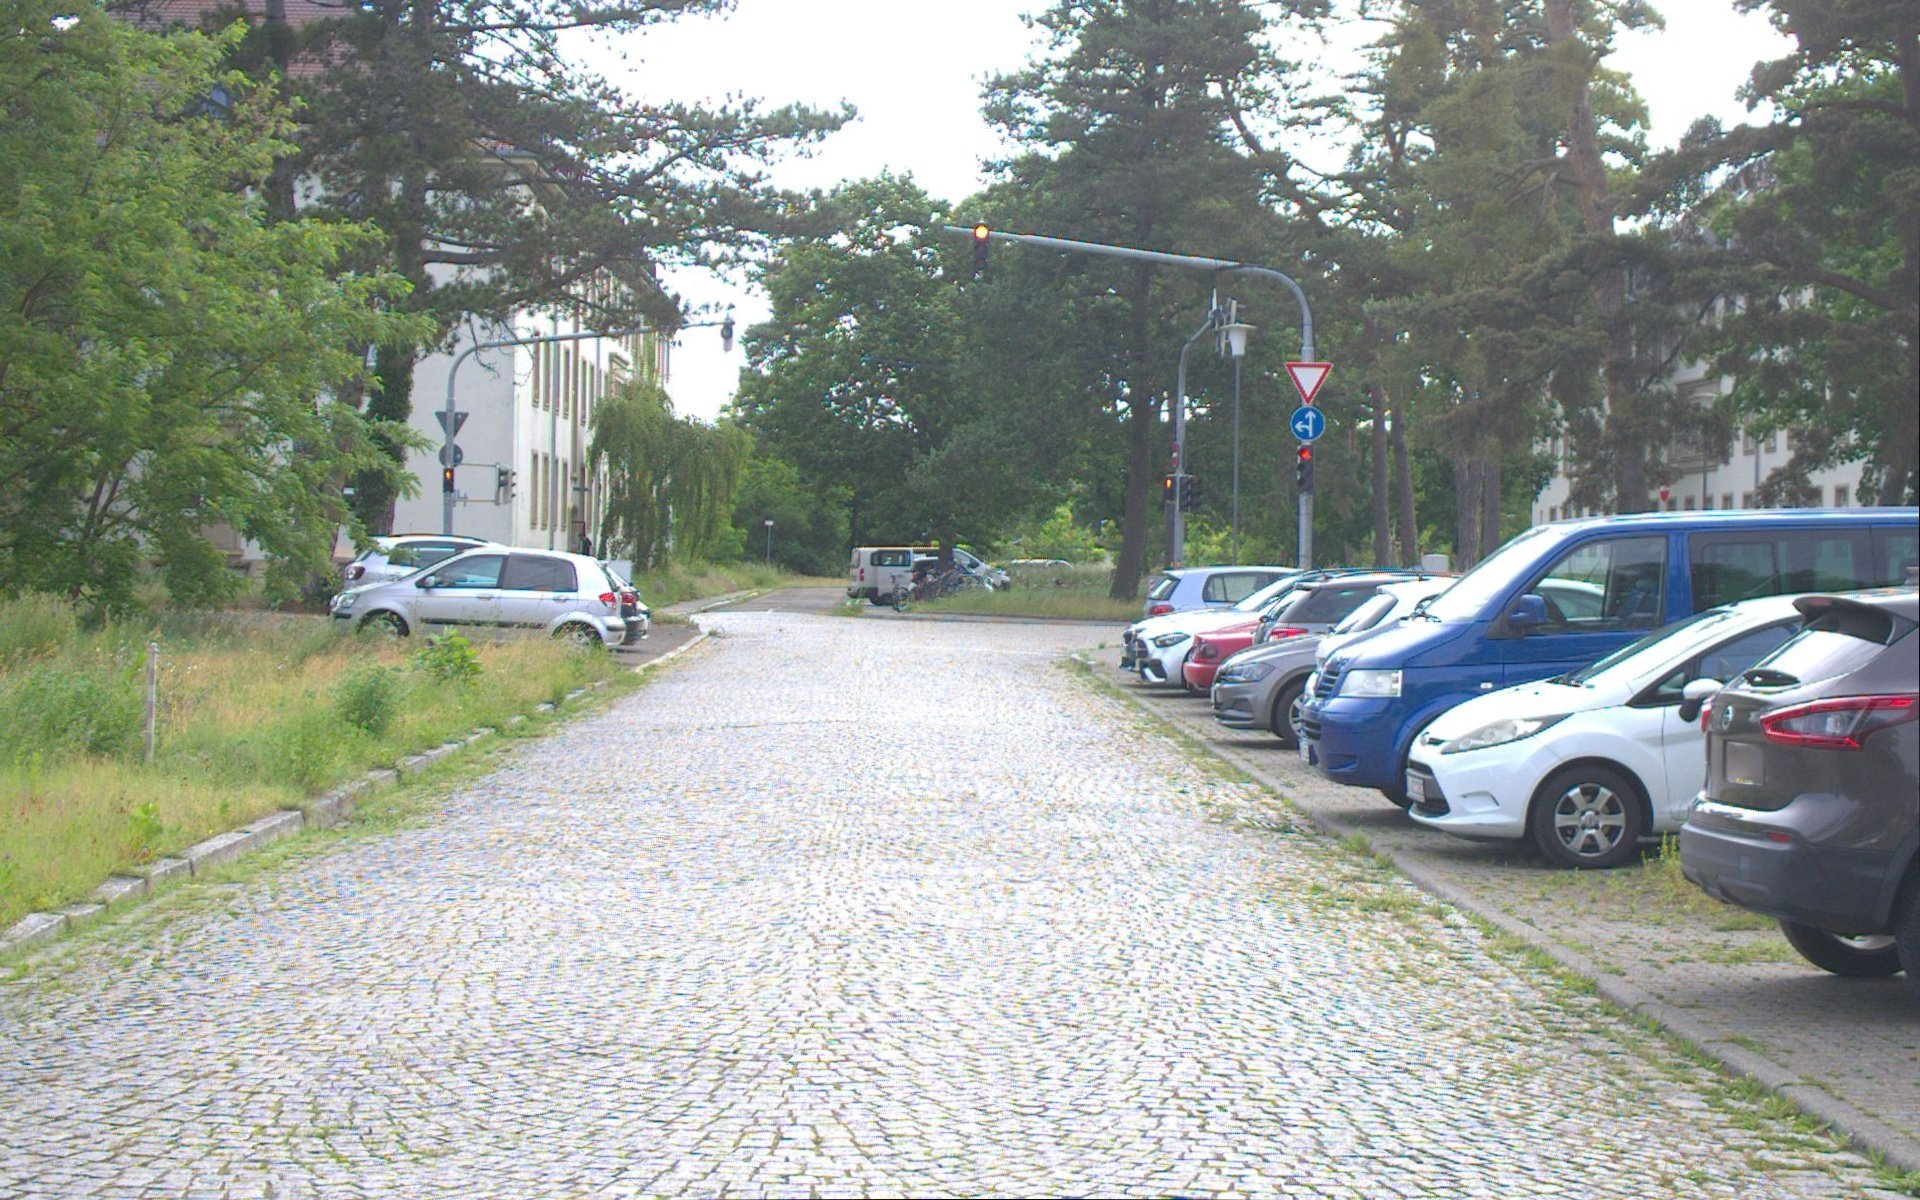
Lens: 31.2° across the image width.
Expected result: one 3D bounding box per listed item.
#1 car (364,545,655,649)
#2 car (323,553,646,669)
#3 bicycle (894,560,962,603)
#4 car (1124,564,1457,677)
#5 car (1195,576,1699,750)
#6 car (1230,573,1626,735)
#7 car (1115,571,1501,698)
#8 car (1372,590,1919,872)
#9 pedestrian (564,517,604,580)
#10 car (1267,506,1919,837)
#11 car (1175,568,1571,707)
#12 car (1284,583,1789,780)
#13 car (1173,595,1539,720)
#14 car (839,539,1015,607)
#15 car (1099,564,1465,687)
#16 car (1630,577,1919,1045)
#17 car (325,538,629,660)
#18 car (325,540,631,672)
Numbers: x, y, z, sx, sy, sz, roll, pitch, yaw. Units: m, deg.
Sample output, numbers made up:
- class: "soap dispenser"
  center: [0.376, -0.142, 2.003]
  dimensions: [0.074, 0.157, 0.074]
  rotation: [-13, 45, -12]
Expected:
- class: "car"
  center: [-6.833, -0.055, 52.301]
  dimensions: [4.297, 1.548, 1.812]
  rotation: [0, 1, -7]
- class: "car"
  center: [-6.476, 0.142, 47.048]
  dimensions: [4.297, 1.548, 1.812]
  rotation: [0, 1, -7]
- class: "bicycle"
  center: [-0.936, -0.542, 101.077]
  dimensions: [1.881, 1.167, 0.665]
  rotation: [2, 0, -6]
- class: "car"
  center: [4.351, 0.261, 45.532]
  dimensions: [4.134, 1.458, 1.634]
  rotation: [0, 1, -6]
- class: "car"
  center: [4.188, 0.525, 30.011]
  dimensions: [4.130, 1.442, 1.766]
  rotation: [0, 1, 0]
- class: "car"
  center: [4.429, 0.495, 32.882]
  dimensions: [3.505, 1.482, 1.743]
  rotation: [0, 1, -1]
- class: "car"
  center: [4.039, 0.389, 40.208]
  dimensions: [4.184, 1.432, 1.756]
  rotation: [0, 1, -8]
- class: "car"
  center: [4.499, 0.702, 19.257]
  dimensions: [4.097, 1.474, 1.722]
  rotation: [0, 1, -4]
- class: "pedestrian"
  center: [-12.022, -1.634, 109.924]
  dimensions: [1.074, 1.952, 1.121]
  rotation: [3, 0, -1]
- class: "car"
  center: [4.472, 0.421, 21.798]
  dimensions: [4.795, 1.997, 1.966]
  rotation: [0, 1, -3]
- class: "car"
  center: [4.501, 0.399, 37.852]
  dimensions: [4.104, 1.471, 1.685]
  rotation: [0, 1, -3]
- class: "car"
  center: [4.487, 0.620, 27.111]
  dimensions: [3.653, 1.474, 1.766]
  rotation: [0, 1, -1]
- class: "car"
  center: [4.047, 0.577, 35.505]
  dimensions: [3.586, 1.218, 1.628]
  rotation: [0, 1, 0]
- class: "car"
  center: [-1.098, -0.889, 112.381]
  dimensions: [5.374, 2.094, 2.179]
  rotation: [1, 1, -13]
- class: "car"
  center: [4.000, 0.300, 42.974]
  dimensions: [4.227, 1.474, 1.710]
  rotation: [0, 1, -11]
- class: "car"
  center: [4.841, 0.727, 12.904]
  dimensions: [4.203, 1.589, 1.953]
  rotation: [0, 1, -3]
- class: "car"
  center: [-6.968, -0.026, 49.845]
  dimensions: [4.297, 1.726, 1.653]
  rotation: [0, 1, -6]
- class: "car"
  center: [-6.191, 0.067, 44.454]
  dimensions: [3.720, 1.476, 1.673]
  rotation: [3, 1, -4]
